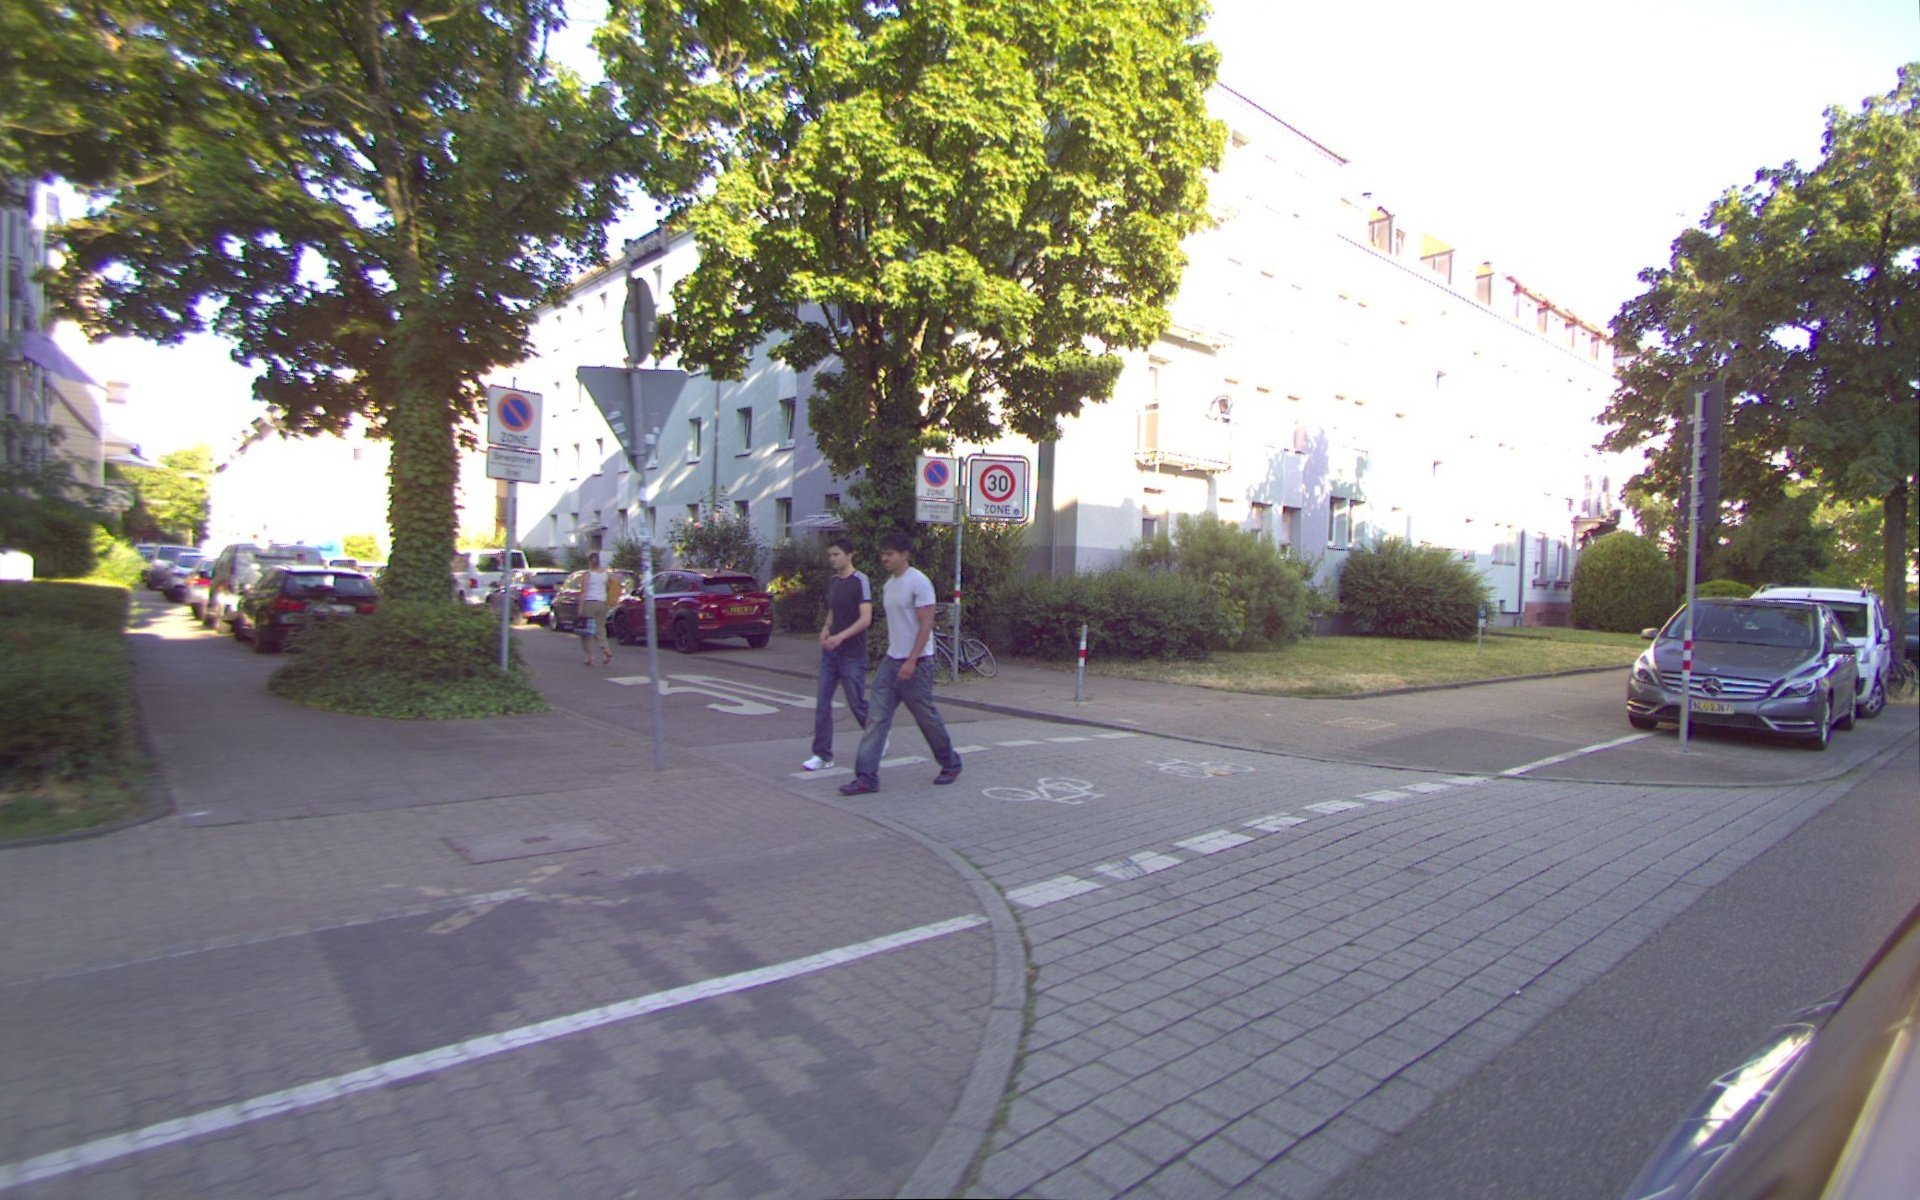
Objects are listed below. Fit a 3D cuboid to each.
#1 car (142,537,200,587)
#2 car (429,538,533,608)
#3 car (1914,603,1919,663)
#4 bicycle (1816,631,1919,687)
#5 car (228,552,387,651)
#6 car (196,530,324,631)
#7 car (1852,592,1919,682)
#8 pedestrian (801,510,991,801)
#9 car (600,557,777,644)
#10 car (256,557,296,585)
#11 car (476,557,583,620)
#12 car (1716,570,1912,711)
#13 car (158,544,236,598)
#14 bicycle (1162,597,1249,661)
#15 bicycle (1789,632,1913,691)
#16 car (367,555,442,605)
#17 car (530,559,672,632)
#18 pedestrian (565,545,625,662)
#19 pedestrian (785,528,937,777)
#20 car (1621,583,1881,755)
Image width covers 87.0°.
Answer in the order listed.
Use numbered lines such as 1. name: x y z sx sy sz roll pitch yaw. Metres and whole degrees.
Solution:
1. car: -33.941 -1.577 43.492 1.729 2.002 4.245 1 0 -41
2. car: -15.077 -0.805 31.763 1.930 2.037 4.246 1 0 -40
3. car: 25.514 0.868 25.601 3.890 1.484 1.616 1 3 -42
4. bicycle: 16.551 1.052 18.332 0.387 0.880 1.554 1 2 -44
5. car: -11.267 0.012 17.348 1.700 1.479 4.165 1 0 -41
6. car: -14.766 -0.378 21.268 1.729 1.903 4.245 1 0 -41
7. car: 20.048 0.739 20.900 4.176 1.683 1.759 1 2 -40
8. pedestrian: -0.446 0.345 7.162 1.049 1.884 0.750 1 2 -42
9. car: -5.547 -0.002 20.345 1.729 1.576 4.245 1 0 -41
10. car: -41.933 -1.729 62.037 1.582 1.629 3.646 1 0 -41
11. car: -11.641 -0.300 27.270 1.605 1.576 3.646 1 0 -41
12. car: 12.992 0.534 15.303 4.349 1.831 1.802 1 0 -43
13. car: -25.310 -0.915 33.515 1.729 1.664 4.245 1 0 -41
14. bicycle: 3.945 0.453 16.188 1.651 0.956 0.476 1 2 -42
15. bicycle: 15.284 1.036 17.402 1.551 0.880 0.387 3 2 41
16. car: -20.093 -0.703 36.546 1.631 1.711 3.646 1 0 -41
17. car: -8.585 -0.102 23.978 1.729 1.576 4.245 1 0 -41
18. pedestrian: -5.590 0.042 15.525 0.784 1.743 0.746 2 1 -17
19. pedestrian: -0.816 0.387 8.239 0.931 1.884 0.802 1 2 -30
20. car: 9.413 0.675 11.911 4.181 1.575 1.757 1 3 -44
